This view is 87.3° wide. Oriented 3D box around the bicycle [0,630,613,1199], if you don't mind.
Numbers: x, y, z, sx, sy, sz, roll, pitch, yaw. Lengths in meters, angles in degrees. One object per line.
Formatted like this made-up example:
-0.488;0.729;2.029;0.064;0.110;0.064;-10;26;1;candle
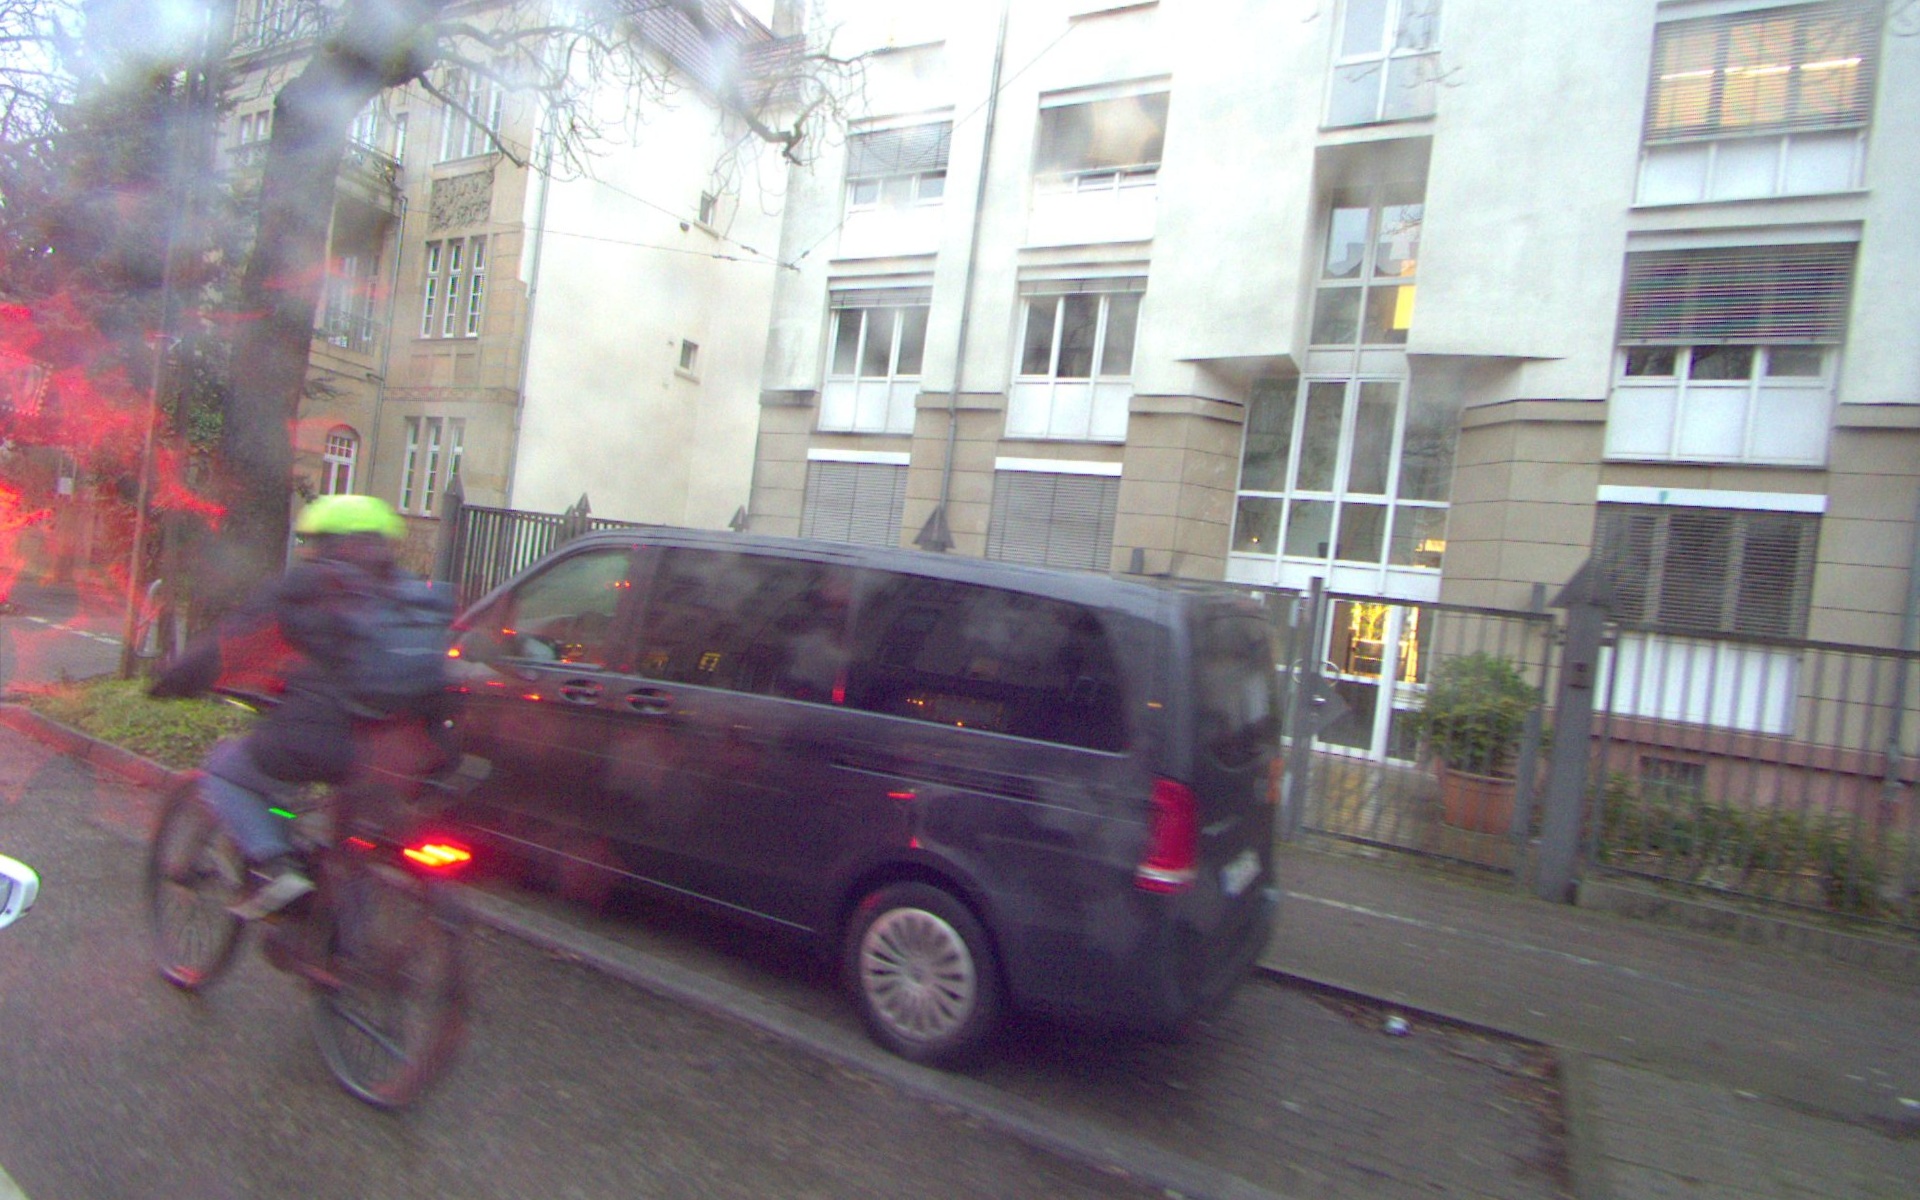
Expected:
-2.125;0.798;3.087;1.906;1.125;0.719;8;-2;25;bicycle

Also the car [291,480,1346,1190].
-0.870;0.637;5.082;4.878;1.899;2.034;7;0;29;car

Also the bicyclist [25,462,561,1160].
-1.984;0.525;3.043;1.037;1.681;0.719;7;-2;25;bicyclist
